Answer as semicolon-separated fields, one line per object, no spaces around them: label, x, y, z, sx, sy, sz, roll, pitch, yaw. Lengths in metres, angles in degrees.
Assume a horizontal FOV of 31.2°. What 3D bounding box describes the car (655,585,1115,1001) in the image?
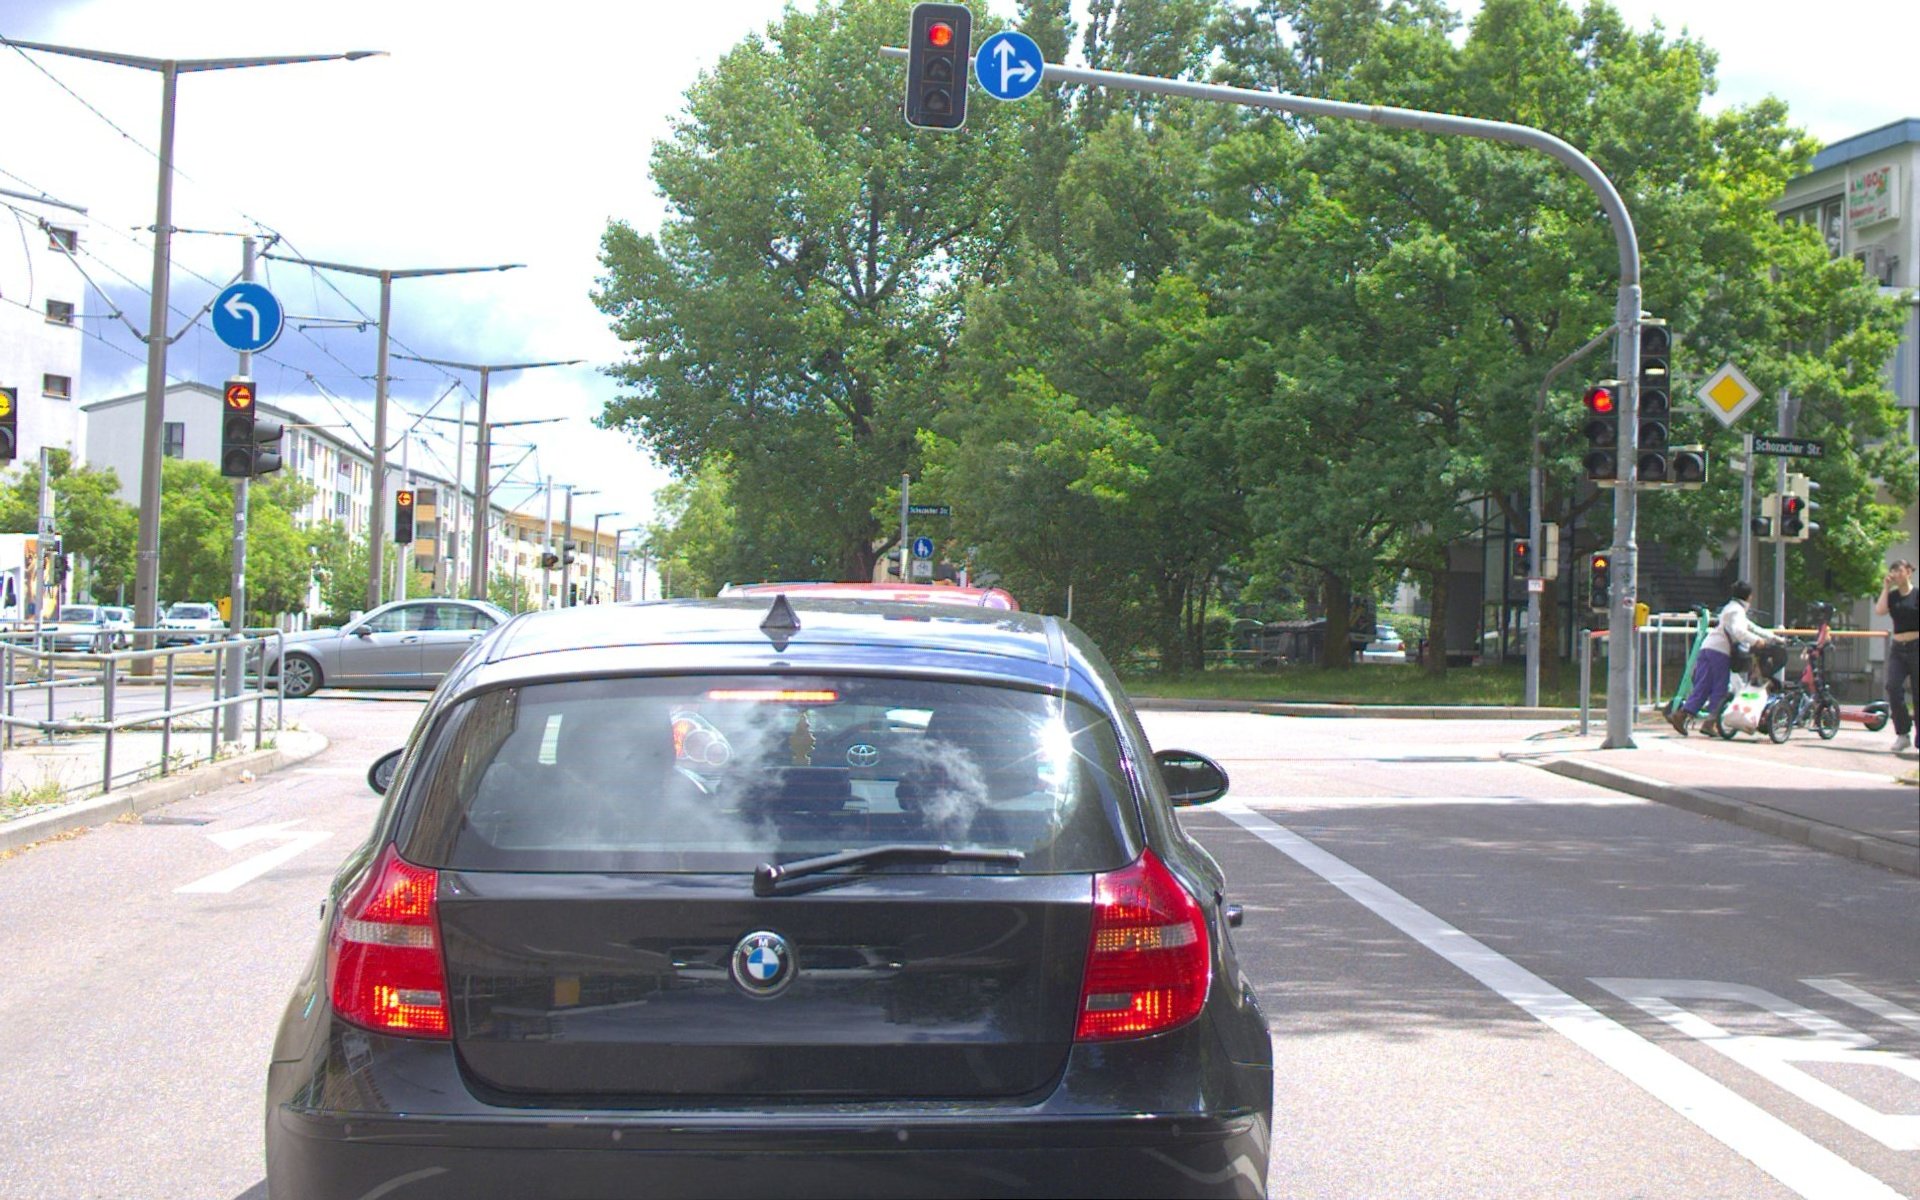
car;-0.257;0.666;13.786;1.594;1.414;3.517;1;1;0

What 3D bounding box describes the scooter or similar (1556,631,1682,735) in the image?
scooter or similar;6.110;0.765;31.873;1.119;0.954;0.300;0;0;-16

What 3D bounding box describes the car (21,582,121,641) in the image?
car;-25.374;0.318;98.230;1.966;1.590;4.000;1;0;-3

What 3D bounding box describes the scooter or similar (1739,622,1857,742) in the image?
scooter or similar;7.765;0.745;31.817;0.410;1.047;1.782;1;1;36

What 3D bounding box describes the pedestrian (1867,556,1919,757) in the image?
pedestrian;8.721;0.524;31.305;0.760;1.784;0.568;4;0;15

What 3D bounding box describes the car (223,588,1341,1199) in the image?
car;-0.234;0.706;6.872;1.654;1.414;3.517;1;1;1

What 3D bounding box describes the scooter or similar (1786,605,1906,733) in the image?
scooter or similar;8.750;0.679;33.950;1.106;1.253;0.332;0;0;-12

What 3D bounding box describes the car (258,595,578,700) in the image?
car;-7.552;0.657;48.011;4.322;1.389;1.713;1;0;-8

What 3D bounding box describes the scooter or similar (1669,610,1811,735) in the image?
scooter or similar;7.508;0.696;33.096;1.287;1.185;0.385;0;0;-16

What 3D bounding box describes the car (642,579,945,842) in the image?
car;-0.983;0.602;20.757;1.654;1.414;3.517;1;1;-2

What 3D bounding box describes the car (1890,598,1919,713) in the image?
car;15.143;0.794;48.346;3.576;1.595;1.712;1;0;-12

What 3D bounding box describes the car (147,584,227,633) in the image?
car;-26.104;0.282;116.239;1.966;1.590;4.000;1;0;-3

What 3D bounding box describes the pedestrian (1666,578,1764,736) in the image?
pedestrian;7.002;0.520;31.901;0.865;1.438;0.798;1;0;12

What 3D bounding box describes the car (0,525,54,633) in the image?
car;-24.520;-0.544;86.494;2.139;2.631;5.359;1;0;-2
